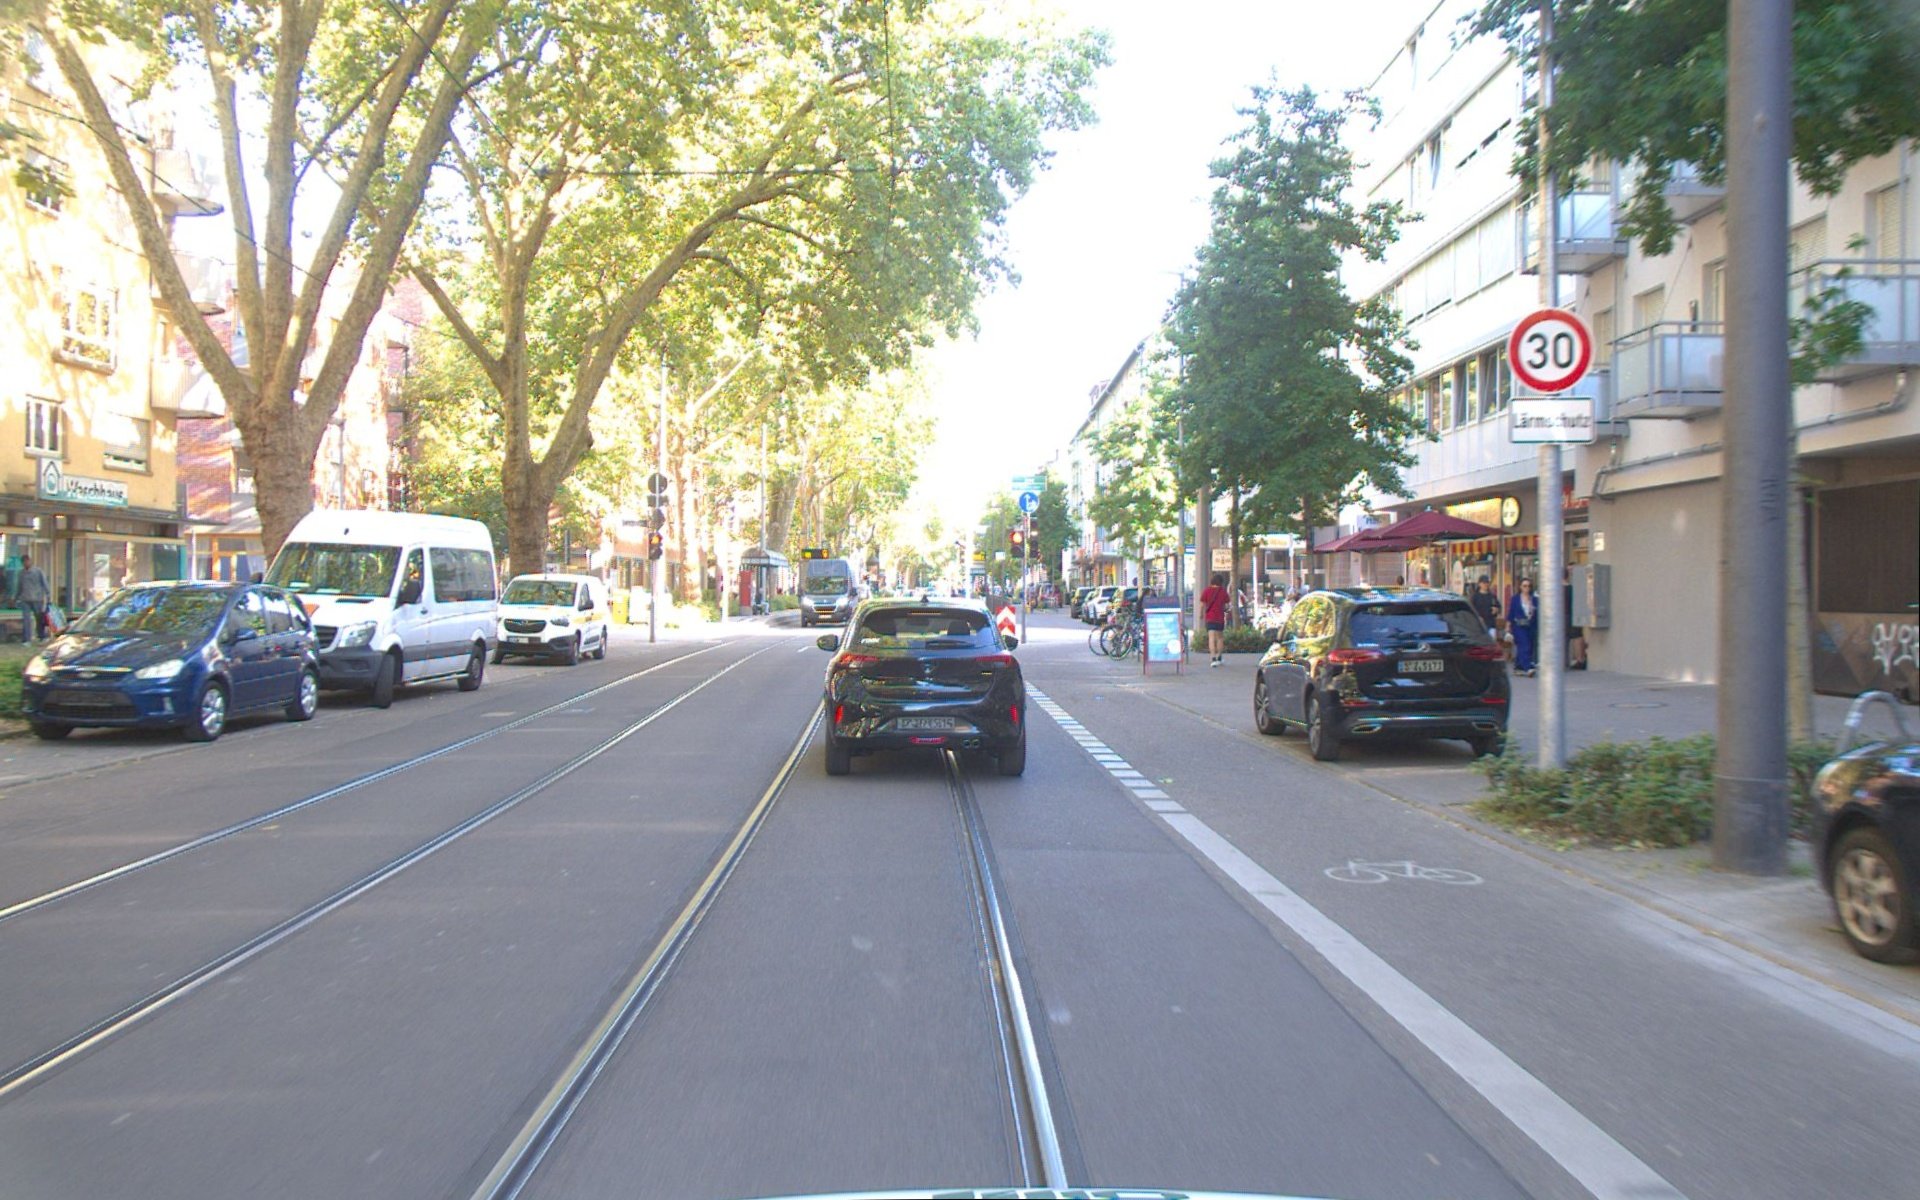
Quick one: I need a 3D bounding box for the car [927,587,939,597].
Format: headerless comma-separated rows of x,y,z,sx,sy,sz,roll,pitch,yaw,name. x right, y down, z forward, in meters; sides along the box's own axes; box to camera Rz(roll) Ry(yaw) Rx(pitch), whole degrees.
-4.003,-1.191,247.232,1.710,1.571,3.998,1,0,-2,car

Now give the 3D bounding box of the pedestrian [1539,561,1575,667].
10.424,0.243,28.894,0.422,1.827,0.489,1,0,-2,pedestrian

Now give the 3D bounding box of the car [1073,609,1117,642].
6.436,1.202,79.106,1.708,1.465,4.247,1,0,0,car

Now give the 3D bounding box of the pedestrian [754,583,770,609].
-9.143,-0.186,76.326,0.691,1.189,0.659,-1,0,-4,pedestrian

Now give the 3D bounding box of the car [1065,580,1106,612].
6.735,-0.201,89.017,1.819,1.644,4.397,1,0,0,car

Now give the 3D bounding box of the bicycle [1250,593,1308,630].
10.844,0.379,56.218,1.876,1.228,0.511,-1,1,-4,bicycle

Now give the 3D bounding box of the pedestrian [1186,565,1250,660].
4.943,0.239,31.695,0.859,1.789,1.045,1,0,31,pedestrian

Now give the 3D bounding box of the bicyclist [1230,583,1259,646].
8.025,0.412,46.735,0.663,1.747,0.965,1,0,2,bicyclist

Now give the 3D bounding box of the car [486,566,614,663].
-8.498,0.295,34.657,1.727,1.883,4.316,1,0,-2,car

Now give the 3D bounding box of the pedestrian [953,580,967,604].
0.025,-0.576,121.816,0.736,1.739,0.761,1,0,34,pedestrian

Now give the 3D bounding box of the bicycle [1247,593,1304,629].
10.818,0.376,56.752,1.876,1.229,0.511,0,1,-4,bicycle

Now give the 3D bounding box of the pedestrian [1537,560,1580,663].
10.791,0.201,29.816,0.518,1.837,0.628,0,-1,42,pedestrian

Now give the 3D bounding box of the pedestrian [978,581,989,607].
1.475,-0.382,102.666,0.618,1.603,0.870,2,0,0,pedestrian

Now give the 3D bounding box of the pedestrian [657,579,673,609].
-16.630,-0.338,93.306,0.720,1.701,0.861,1,0,0,pedestrian

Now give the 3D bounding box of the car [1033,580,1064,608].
6.563,-0.431,122.780,1.953,1.986,3.999,1,0,-1,car

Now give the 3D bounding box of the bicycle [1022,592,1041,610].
4.504,0.057,104.170,0.844,1.156,2.393,1,0,-6,bicycle

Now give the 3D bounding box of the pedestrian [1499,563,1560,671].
9.300,0.275,27.025,0.584,1.707,0.934,-2,0,-3,pedestrian

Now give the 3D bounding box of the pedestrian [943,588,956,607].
-1.022,-0.212,155.850,1.141,1.779,0.957,1,0,-6,pedestrian

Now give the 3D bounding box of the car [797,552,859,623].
-5.398,-0.483,68.233,2.070,2.786,6.114,-1,0,0,car

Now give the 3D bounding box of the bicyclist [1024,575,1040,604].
4.526,-0.652,104.032,0.844,1.790,1.052,1,0,-7,bicyclist

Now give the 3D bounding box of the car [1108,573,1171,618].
7.074,-0.156,65.730,1.953,1.644,4.445,-3,0,0,car

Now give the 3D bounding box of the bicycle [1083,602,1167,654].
3.643,0.623,36.557,1.781,1.119,0.497,1,0,-9,bicycle

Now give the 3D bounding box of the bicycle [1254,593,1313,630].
10.880,0.387,55.680,1.876,1.228,0.511,-1,1,-4,bicycle

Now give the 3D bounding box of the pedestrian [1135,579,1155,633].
5.431,0.182,48.647,0.539,1.589,0.645,1,-1,4,pedestrian

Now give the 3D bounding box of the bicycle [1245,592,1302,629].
10.859,0.364,57.308,1.876,1.229,0.511,-1,0,-4,bicycle

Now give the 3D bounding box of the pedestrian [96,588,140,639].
-19.897,0.322,39.100,0.629,1.187,0.675,1,0,26,pedestrian

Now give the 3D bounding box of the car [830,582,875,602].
-10.693,-0.824,164.264,4.302,1.884,1.997,1,0,-8,car

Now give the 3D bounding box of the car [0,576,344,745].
-8.426,0.583,18.006,1.878,1.589,4.283,1,0,-1,car

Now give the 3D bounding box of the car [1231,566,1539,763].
4.071,0.563,16.611,1.724,1.615,4.327,-3,0,-3,car

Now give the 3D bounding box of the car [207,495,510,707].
-8.387,0.017,23.817,2.064,2.622,6.024,1,0,1,car

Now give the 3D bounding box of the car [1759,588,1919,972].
4.659,0.715,5.849,1.590,1.507,3.887,-2,1,-3,car

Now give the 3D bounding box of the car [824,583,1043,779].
-0.276,0.636,14.918,1.724,1.534,3.681,0,0,-2,car

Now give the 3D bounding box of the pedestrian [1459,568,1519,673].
8.643,0.327,27.037,0.629,1.666,0.869,-2,0,-2,pedestrian

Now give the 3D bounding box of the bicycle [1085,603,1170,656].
3.642,0.638,35.967,1.781,1.119,0.480,1,0,-9,bicycle

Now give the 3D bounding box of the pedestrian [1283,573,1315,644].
8.810,0.230,43.062,0.578,1.815,0.995,1,0,-2,pedestrian

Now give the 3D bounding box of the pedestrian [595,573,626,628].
-12.299,0.018,58.236,0.905,1.867,0.920,1,2,-4,pedestrian

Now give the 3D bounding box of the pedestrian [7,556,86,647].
-19.366,0.032,35.077,1.085,1.897,1.058,1,0,-4,pedestrian

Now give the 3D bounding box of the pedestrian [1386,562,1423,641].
9.552,0.032,35.534,0.662,1.688,0.815,1,0,9,pedestrian

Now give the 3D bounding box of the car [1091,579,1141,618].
6.786,-0.062,72.418,1.763,1.634,4.415,1,0,0,car

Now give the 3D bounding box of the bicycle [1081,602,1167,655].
3.485,0.611,35.229,1.778,1.119,0.525,0,0,-1,bicycle

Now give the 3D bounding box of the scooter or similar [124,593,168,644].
-19.091,0.432,38.808,0.629,1.187,0.675,1,0,26,scooter or similar

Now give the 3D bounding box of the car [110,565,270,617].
-25.571,-0.286,55.068,4.348,1.481,1.996,3,0,-9,car

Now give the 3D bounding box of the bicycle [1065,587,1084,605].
7.537,-0.249,109.043,0.610,1.156,2.432,1,0,-11,bicycle

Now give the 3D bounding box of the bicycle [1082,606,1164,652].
3.690,0.648,37.402,1.779,1.011,0.481,1,0,-3,bicycle
